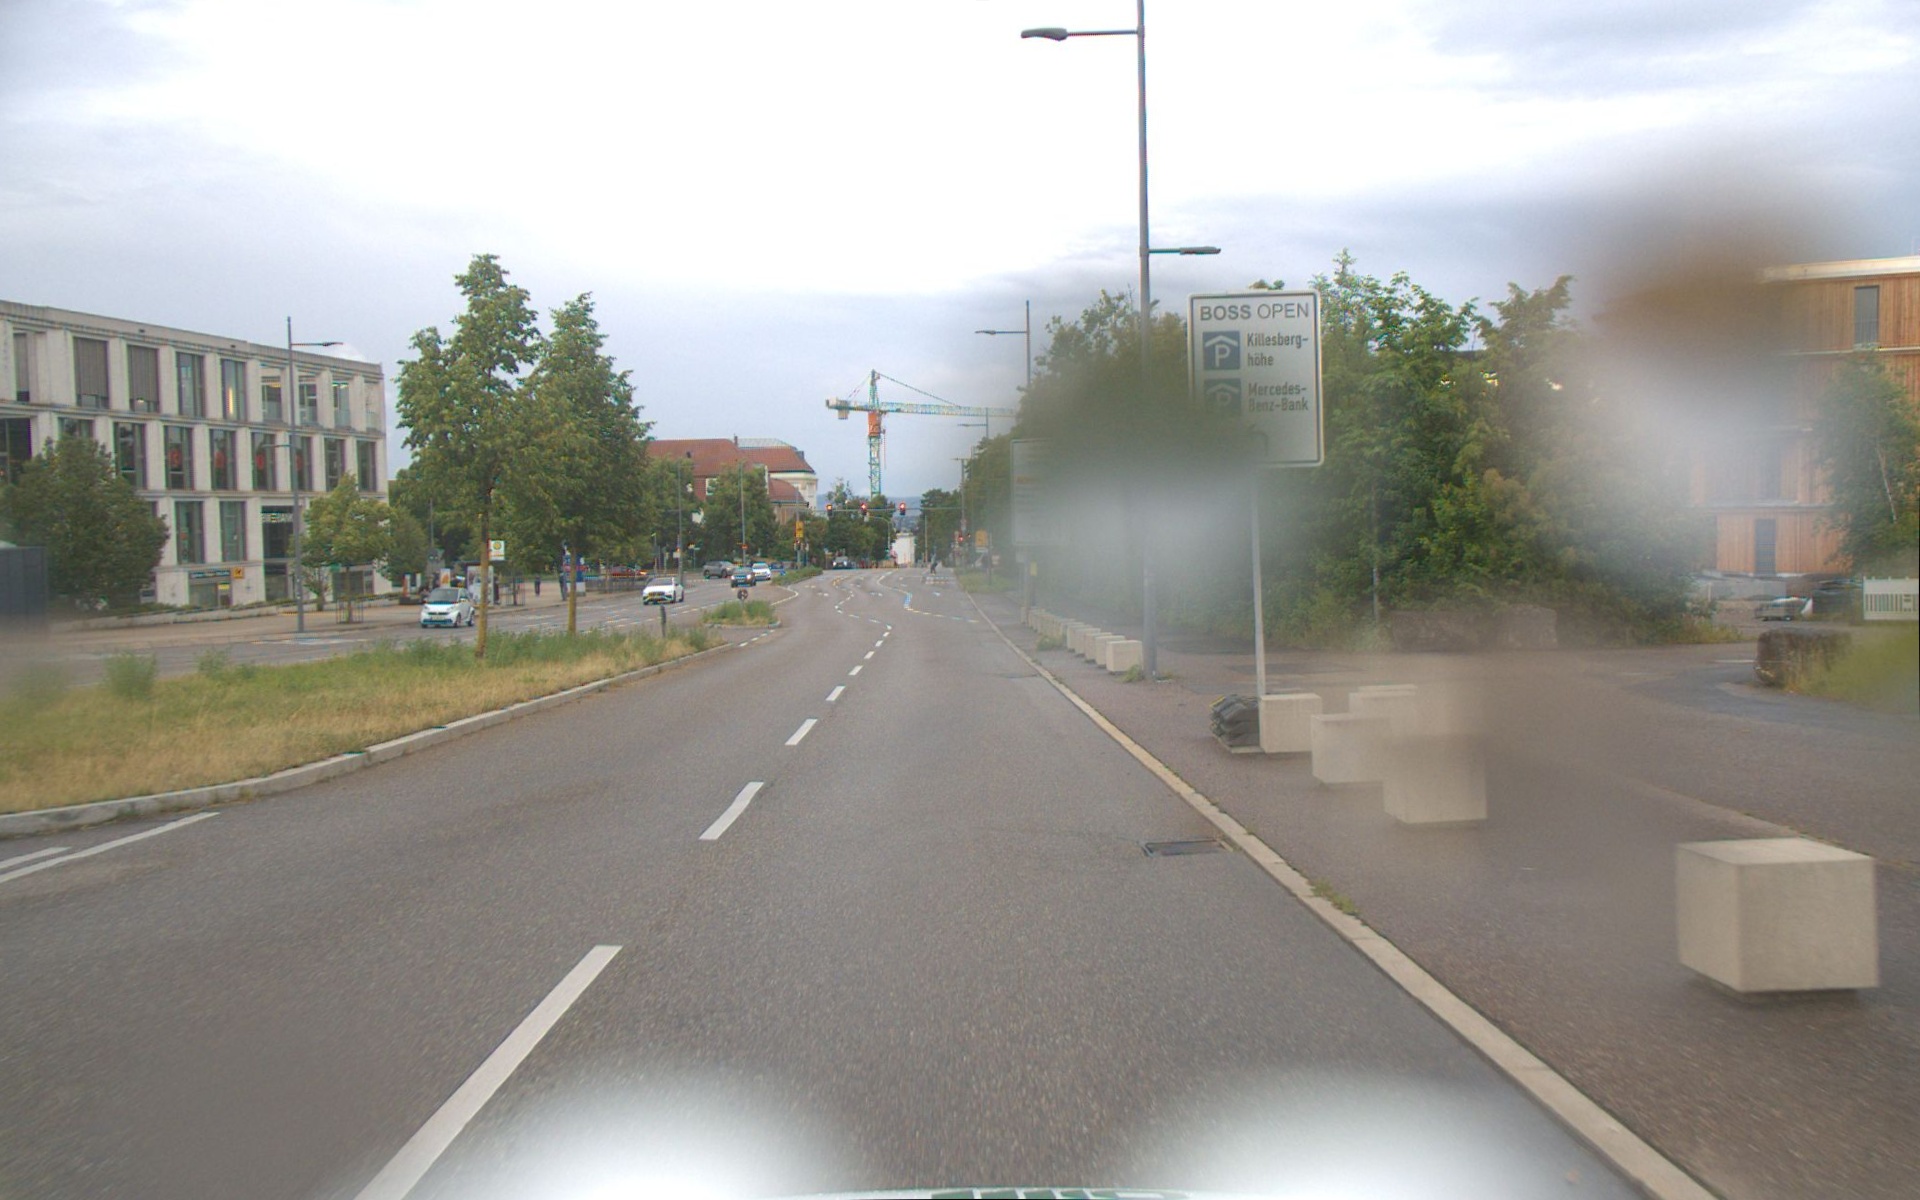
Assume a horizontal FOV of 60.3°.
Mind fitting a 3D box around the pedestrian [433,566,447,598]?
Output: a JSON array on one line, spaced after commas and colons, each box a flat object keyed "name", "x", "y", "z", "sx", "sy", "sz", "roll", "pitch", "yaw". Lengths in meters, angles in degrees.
[{"name": "pedestrian", "x": -28.566, "y": -1.004, "z": 90.857, "sx": 0.514, "sy": 1.755, "sz": 0.566, "roll": -1, "pitch": 2, "yaw": 1}]

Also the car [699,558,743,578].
[{"name": "car", "x": -23.102, "y": -3.079, "z": 159.832, "sx": 3.920, "sy": 1.911, "sz": 1.992, "roll": 1, "pitch": 1, "yaw": 36}]

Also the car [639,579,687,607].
[{"name": "car", "x": -16.992, "y": -0.429, "z": 94.816, "sx": 1.953, "sy": 1.443, "sz": 4.512, "roll": -1, "pitch": 1, "yaw": -1}]

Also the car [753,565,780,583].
[{"name": "car", "x": -17.325, "y": -2.326, "z": 148.260, "sx": 1.835, "sy": 1.454, "sz": 4.175, "roll": -4, "pitch": 1, "yaw": -1}]

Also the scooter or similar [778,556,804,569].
[{"name": "scooter or similar", "x": -20.978, "y": -4.678, "z": 205.509, "sx": 3.026, "sy": 1.465, "sz": 0.948, "roll": -2, "pitch": 2, "yaw": -3}]

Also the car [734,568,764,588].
[{"name": "car", "x": -16.391, "y": -1.731, "z": 128.483, "sx": 1.809, "sy": 1.487, "sz": 3.867, "roll": -3, "pitch": 1, "yaw": -1}]

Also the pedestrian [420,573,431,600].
[{"name": "pedestrian", "x": -29.541, "y": -0.754, "z": 91.374, "sx": 0.417, "sy": 1.476, "sz": 0.510, "roll": -1, "pitch": 2, "yaw": -1}]

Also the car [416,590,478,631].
[{"name": "car", "x": -20.584, "y": 0.411, "z": 66.484, "sx": 1.581, "sy": 1.534, "sz": 2.972, "roll": 0, "pitch": 1, "yaw": -1}]

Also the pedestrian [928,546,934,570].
[{"name": "pedestrian", "x": -2.556, "y": -3.727, "z": 145.556, "sx": 0.392, "sy": 2.048, "sz": 0.514, "roll": -4, "pitch": 2, "yaw": 5}]

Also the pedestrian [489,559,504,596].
[{"name": "pedestrian", "x": -23.787, "y": -1.137, "z": 84.892, "sx": 0.497, "sy": 1.874, "sz": 0.755, "roll": -1, "pitch": 2, "yaw": -2}]
